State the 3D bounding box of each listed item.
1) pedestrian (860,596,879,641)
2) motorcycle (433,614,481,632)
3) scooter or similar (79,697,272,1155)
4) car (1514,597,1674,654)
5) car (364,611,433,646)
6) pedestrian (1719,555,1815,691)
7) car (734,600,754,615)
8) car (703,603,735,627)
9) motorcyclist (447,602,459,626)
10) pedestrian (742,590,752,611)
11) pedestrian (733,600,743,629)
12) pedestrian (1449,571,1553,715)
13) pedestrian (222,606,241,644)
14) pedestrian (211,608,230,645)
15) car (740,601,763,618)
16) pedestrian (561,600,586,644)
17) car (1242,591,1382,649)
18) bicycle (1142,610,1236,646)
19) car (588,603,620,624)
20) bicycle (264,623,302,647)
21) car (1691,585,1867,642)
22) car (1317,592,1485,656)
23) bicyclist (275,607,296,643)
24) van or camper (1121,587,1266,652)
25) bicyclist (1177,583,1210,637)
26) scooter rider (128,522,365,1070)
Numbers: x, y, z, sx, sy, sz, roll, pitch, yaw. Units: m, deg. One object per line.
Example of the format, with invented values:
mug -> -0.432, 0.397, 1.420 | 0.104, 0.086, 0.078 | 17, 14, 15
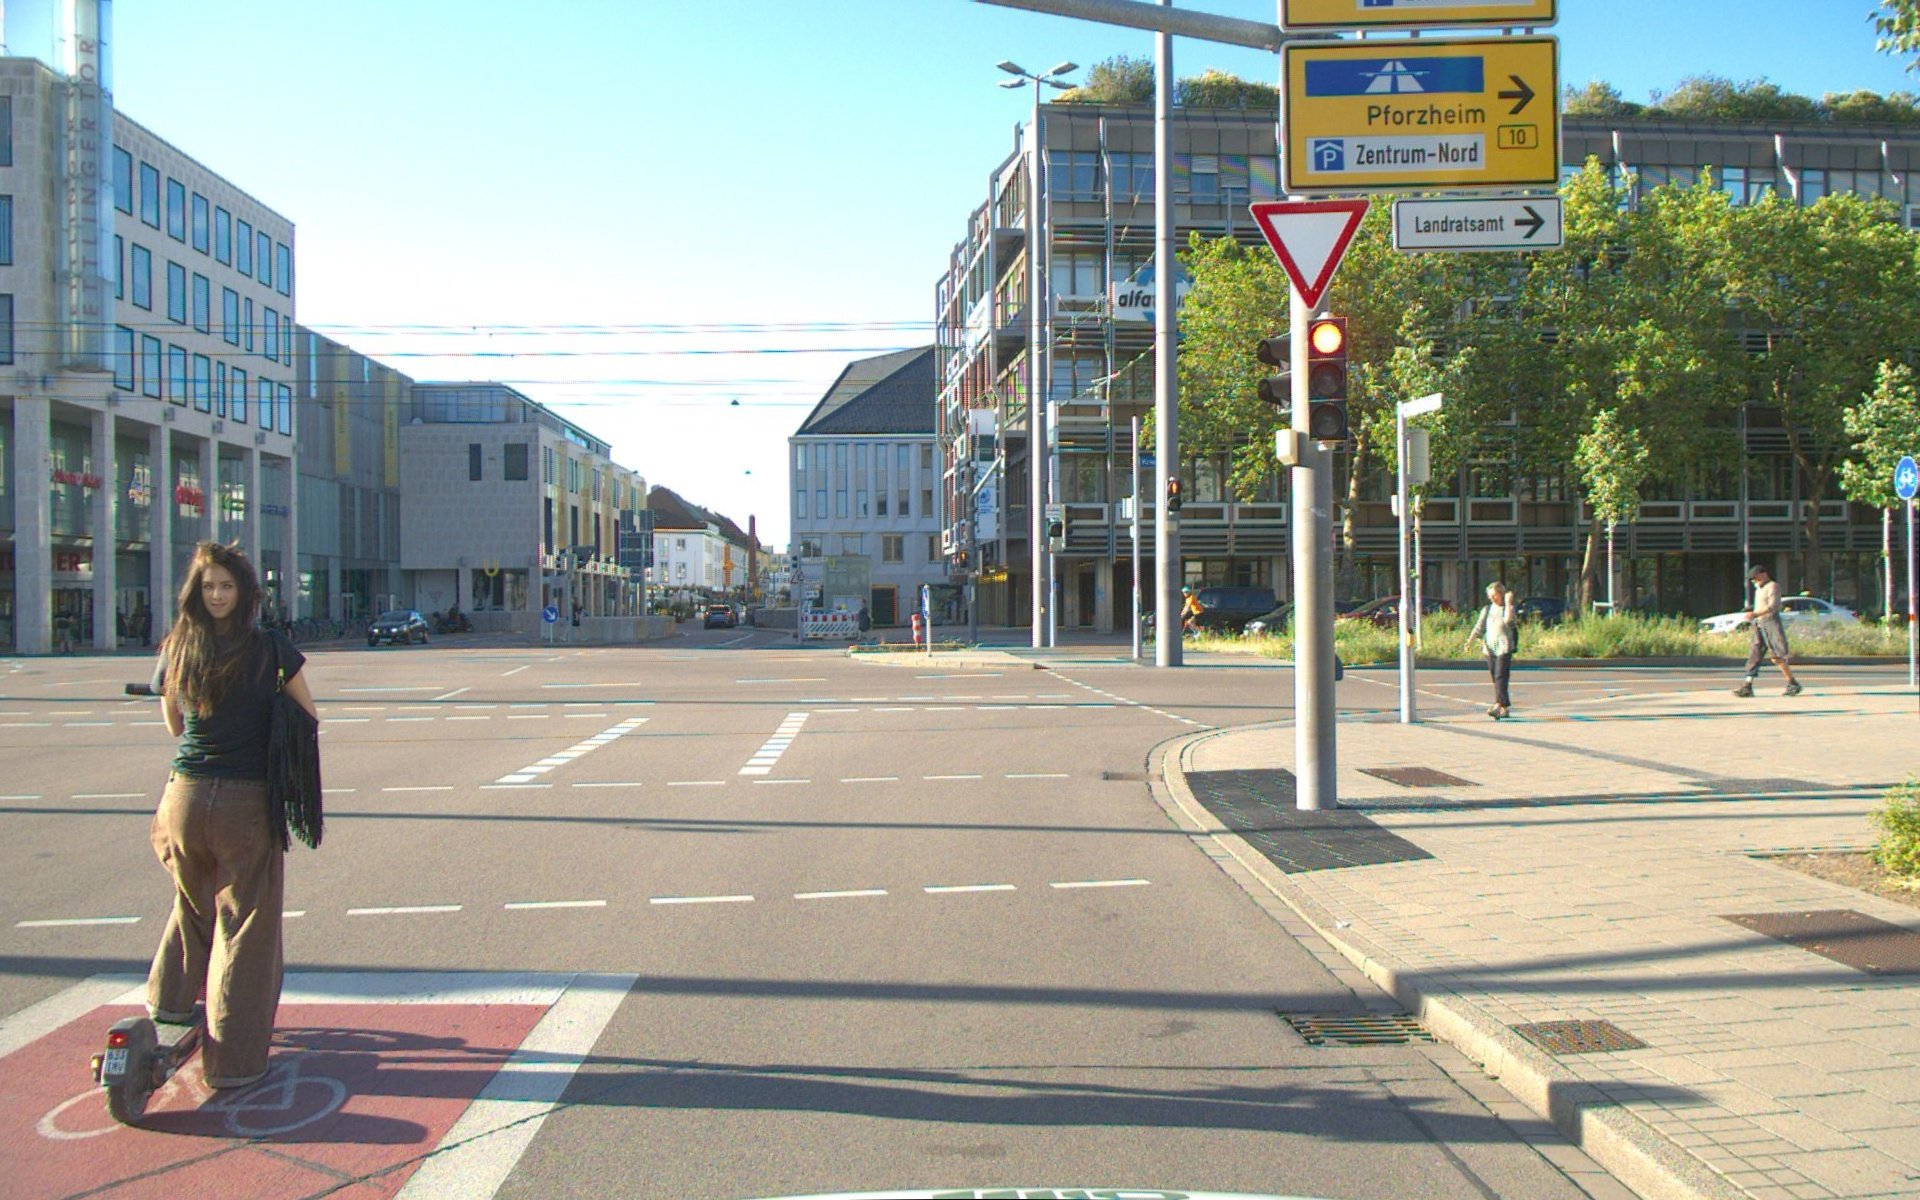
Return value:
pedestrian -> -3.536, 0.721, 64.422 | 0.685, 1.718, 0.619 | -1, 0, 0
motorcycle -> -29.694, 1.358, 97.678 | 2.555, 1.010, 1.113 | 1, 0, -10
scooter or similar -> -2.210, 0.867, 4.712 | 0.301, 1.127, 0.836 | -1, 0, -12
car -> 19.890, 0.782, 51.991 | 4.317, 1.713, 1.824 | -1, 0, -4
car -> -23.549, 1.165, 69.482 | 1.642, 1.381, 4.019 | -1, 0, -2
pedestrian -> 10.543, 0.289, 21.629 | 0.854, 1.736, 0.768 | -1, 0, -3
car -> -21.667, 0.765, 165.805 | 1.625, 1.484, 3.541 | -1, 0, -1
car -> -15.698, 0.962, 107.828 | 1.625, 1.484, 3.541 | -1, 0, -1
motorcyclist -> -30.011, 0.830, 97.912 | 0.616, 1.430, 0.661 | 1, -1, -9
pedestrian -> -21.149, 0.048, 164.366 | 0.892, 1.999, 0.822 | 1, -1, -1
pedestrian -> -13.271, 0.878, 98.856 | 0.481, 1.693, 0.529 | 1, -1, -15
pedestrian -> 6.332, 0.483, 19.377 | 0.860, 1.642, 0.762 | -1, 0, -25
pedestrian -> -32.541, 1.118, 73.884 | 0.580, 1.674, 0.629 | -1, 0, -1
pedestrian -> -35.854, 1.288, 80.224 | 0.462, 1.759, 0.692 | 0, -1, 37
car -> -18.342, 0.839, 145.590 | 1.625, 1.484, 3.541 | -1, 0, -1
pedestrian -> -14.868, 0.840, 63.621 | 0.760, 1.667, 0.626 | -1, 0, 4
car -> 10.779, 0.602, 50.777 | 3.907, 1.713, 1.761 | -1, 0, -2
bicycle -> 6.520, 0.798, 47.206 | 2.517, 0.992, 1.047 | -1, 0, -4
car -> -26.173, 0.984, 121.795 | 1.625, 1.484, 3.541 | -1, 0, -1
bicycle -> -27.674, 1.414, 67.690 | 0.622, 0.919, 2.218 | -1, 0, 0
car -> 25.958, 0.409, 52.479 | 4.749, 1.713, 1.824 | -1, 0, -4
car -> 12.410, 0.649, 46.612 | 4.212, 1.713, 1.820 | -1, 0, -11
bicyclist -> -27.688, 1.015, 67.901 | 0.613, 1.473, 0.589 | -1, 0, 0
van or camper -> 7.559, 0.615, 53.758 | 4.329, 2.049, 1.993 | -1, 0, -5
bicyclist -> 6.675, 0.279, 47.226 | 0.806, 1.500, 0.652 | -1, 0, -5
scooter rider -> -2.126, 0.555, 4.972 | 0.542, 1.556, 0.448 | -1, 0, -9
